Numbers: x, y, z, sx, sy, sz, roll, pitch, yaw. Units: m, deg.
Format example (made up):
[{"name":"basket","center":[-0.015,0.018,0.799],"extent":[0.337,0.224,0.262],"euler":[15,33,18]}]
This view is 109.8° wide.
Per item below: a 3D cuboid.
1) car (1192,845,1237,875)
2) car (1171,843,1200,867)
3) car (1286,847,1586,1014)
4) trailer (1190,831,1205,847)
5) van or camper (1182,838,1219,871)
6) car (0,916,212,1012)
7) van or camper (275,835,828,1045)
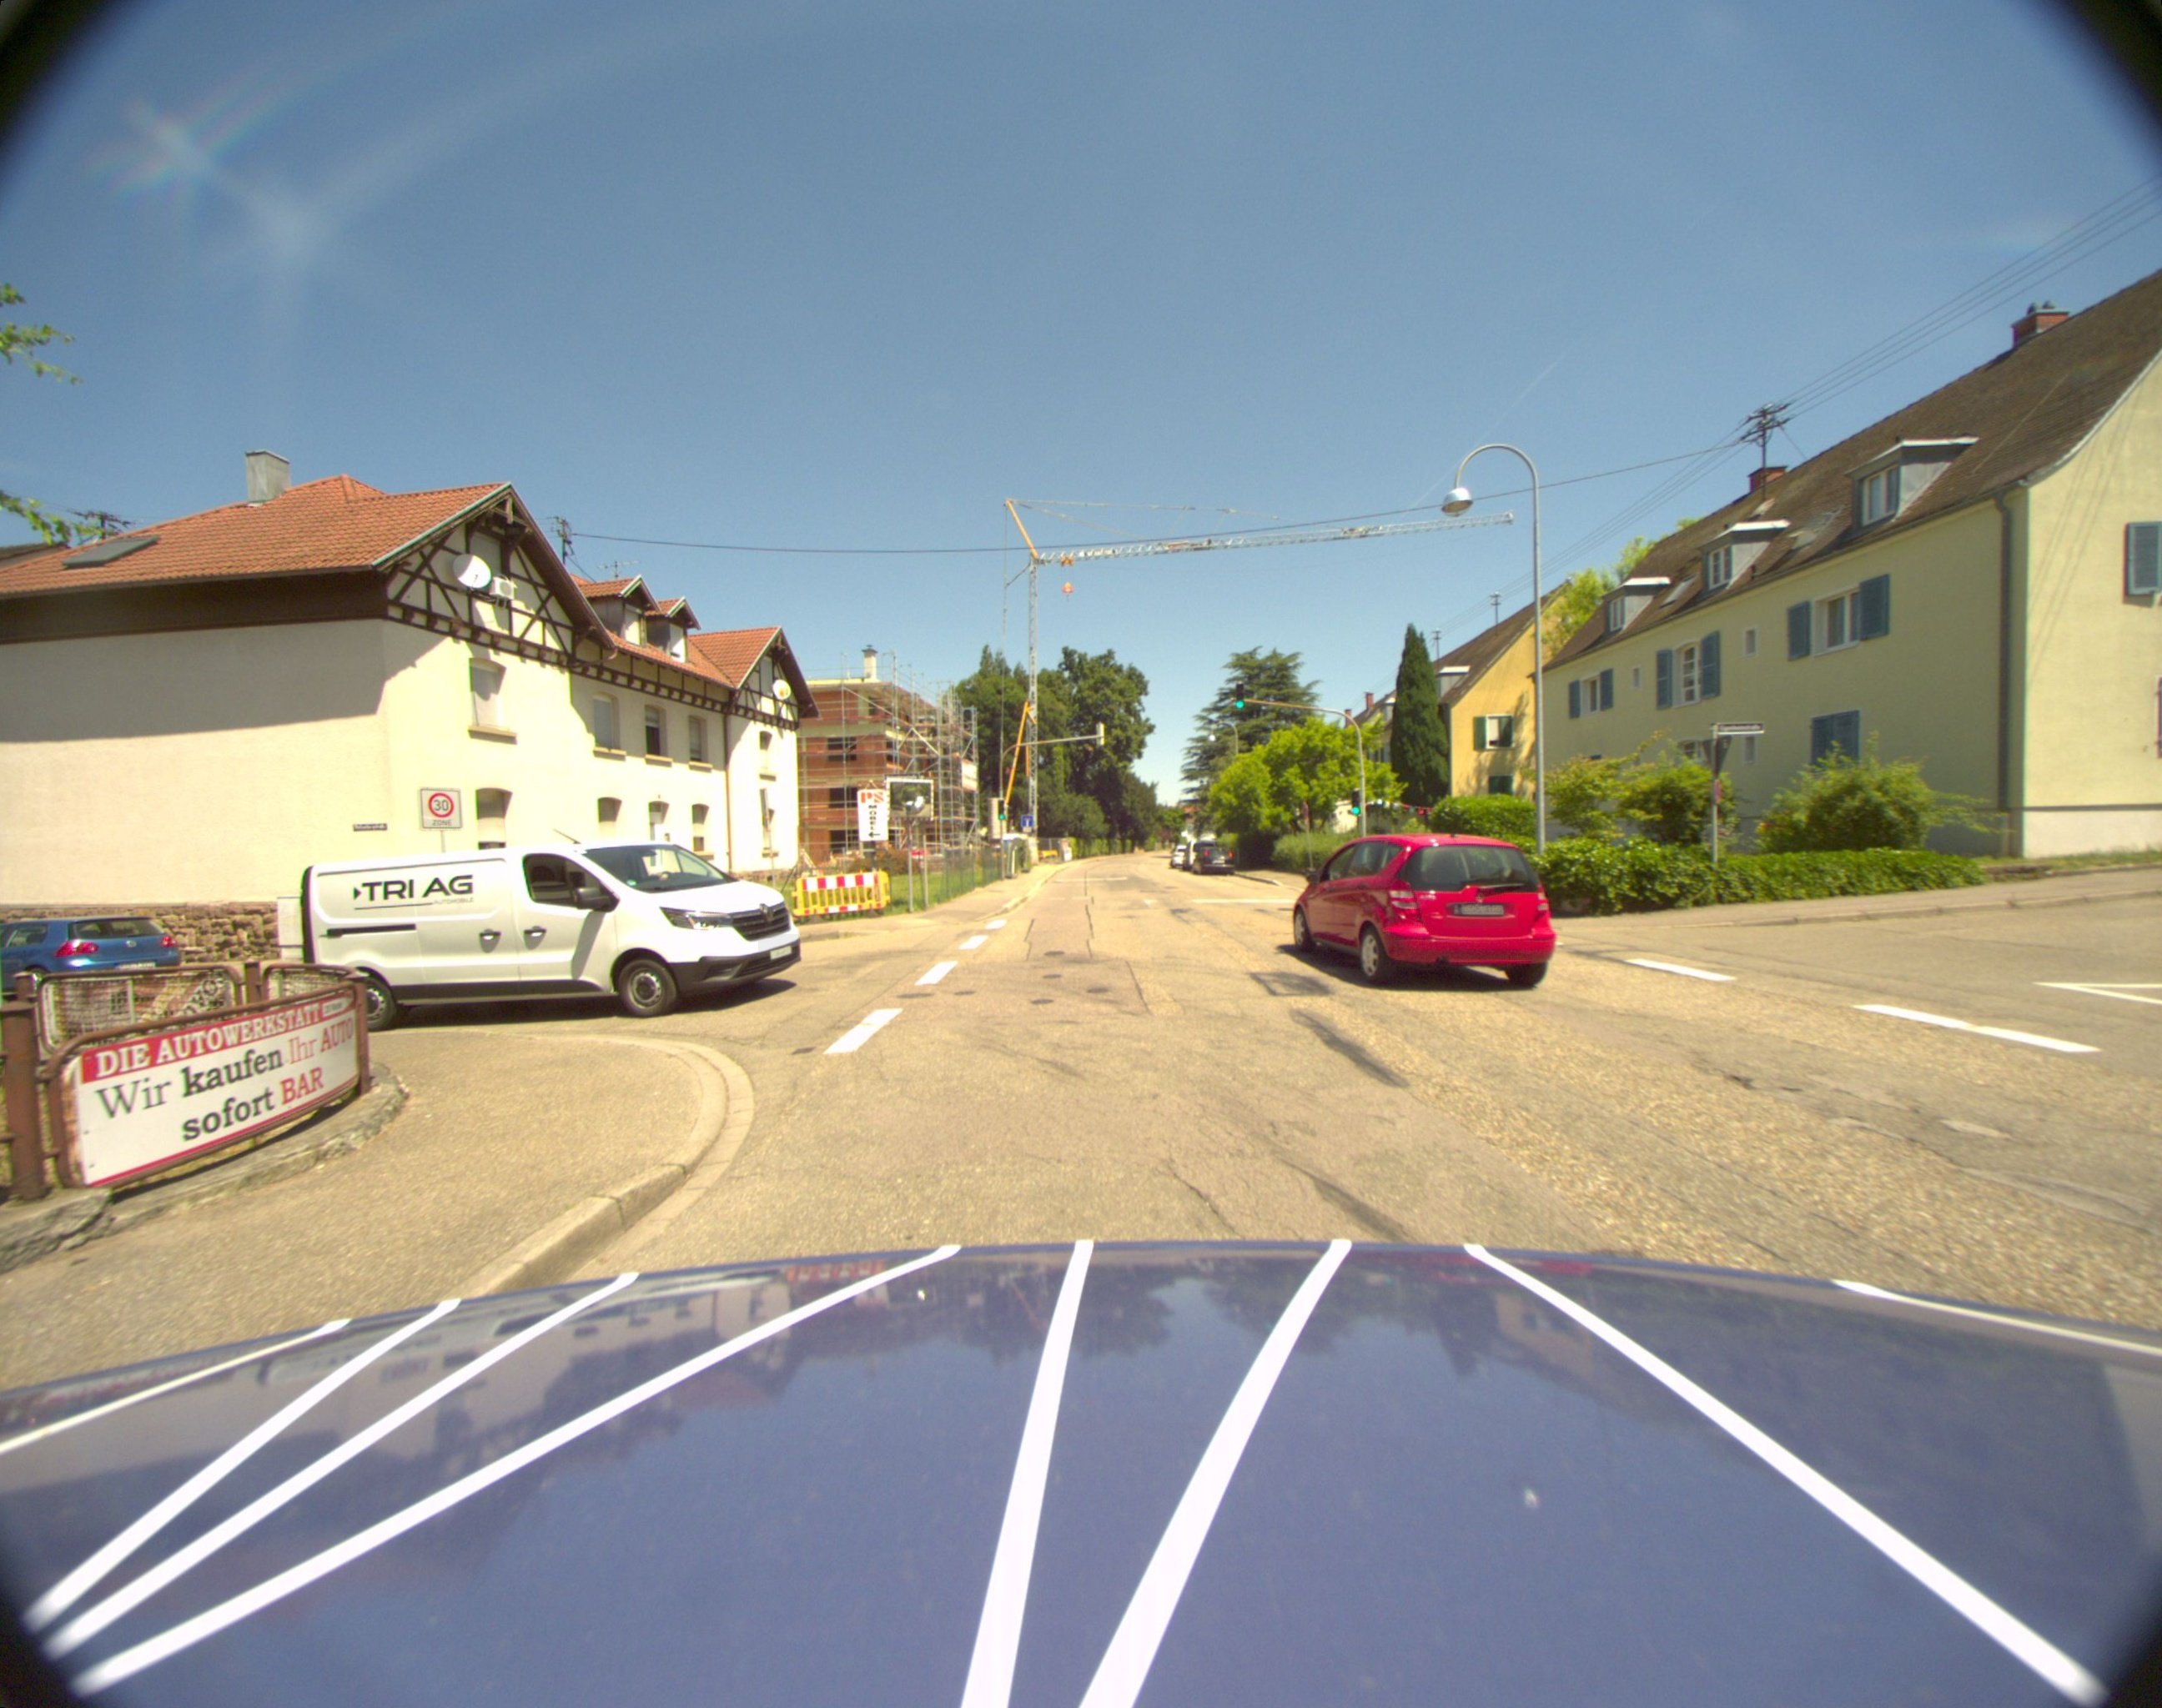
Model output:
[{"name":"car","center":[6.693,0.274,38.462],"extent":[1.685,1.404,3.926],"euler":[1,1,2]},{"name":"car","center":[6.664,0.043,48.737],"extent":[1.684,1.433,4.248],"euler":[1,1,5]},{"name":"car","center":[3.837,0.706,8.999],"extent":[1.819,1.557,3.696],"euler":[0,1,0]},{"name":"trailer","center":[15.013,-1.893,97.915],"extent":[1.817,2.022,4.003],"euler":[1,1,10]},{"name":"van or camper","center":[6.743,-0.030,43.305],"extent":[1.685,1.794,3.985],"euler":[1,1,3]},{"name":"car","center":[-19.212,2.061,14.309],"extent":[3.891,1.435,1.816],"euler":[-3,1,7]},{"name":"van or camper","center":[-6.064,0.958,9.016],"extent":[5.354,1.968,2.000],"euler":[-3,3,10]}]
